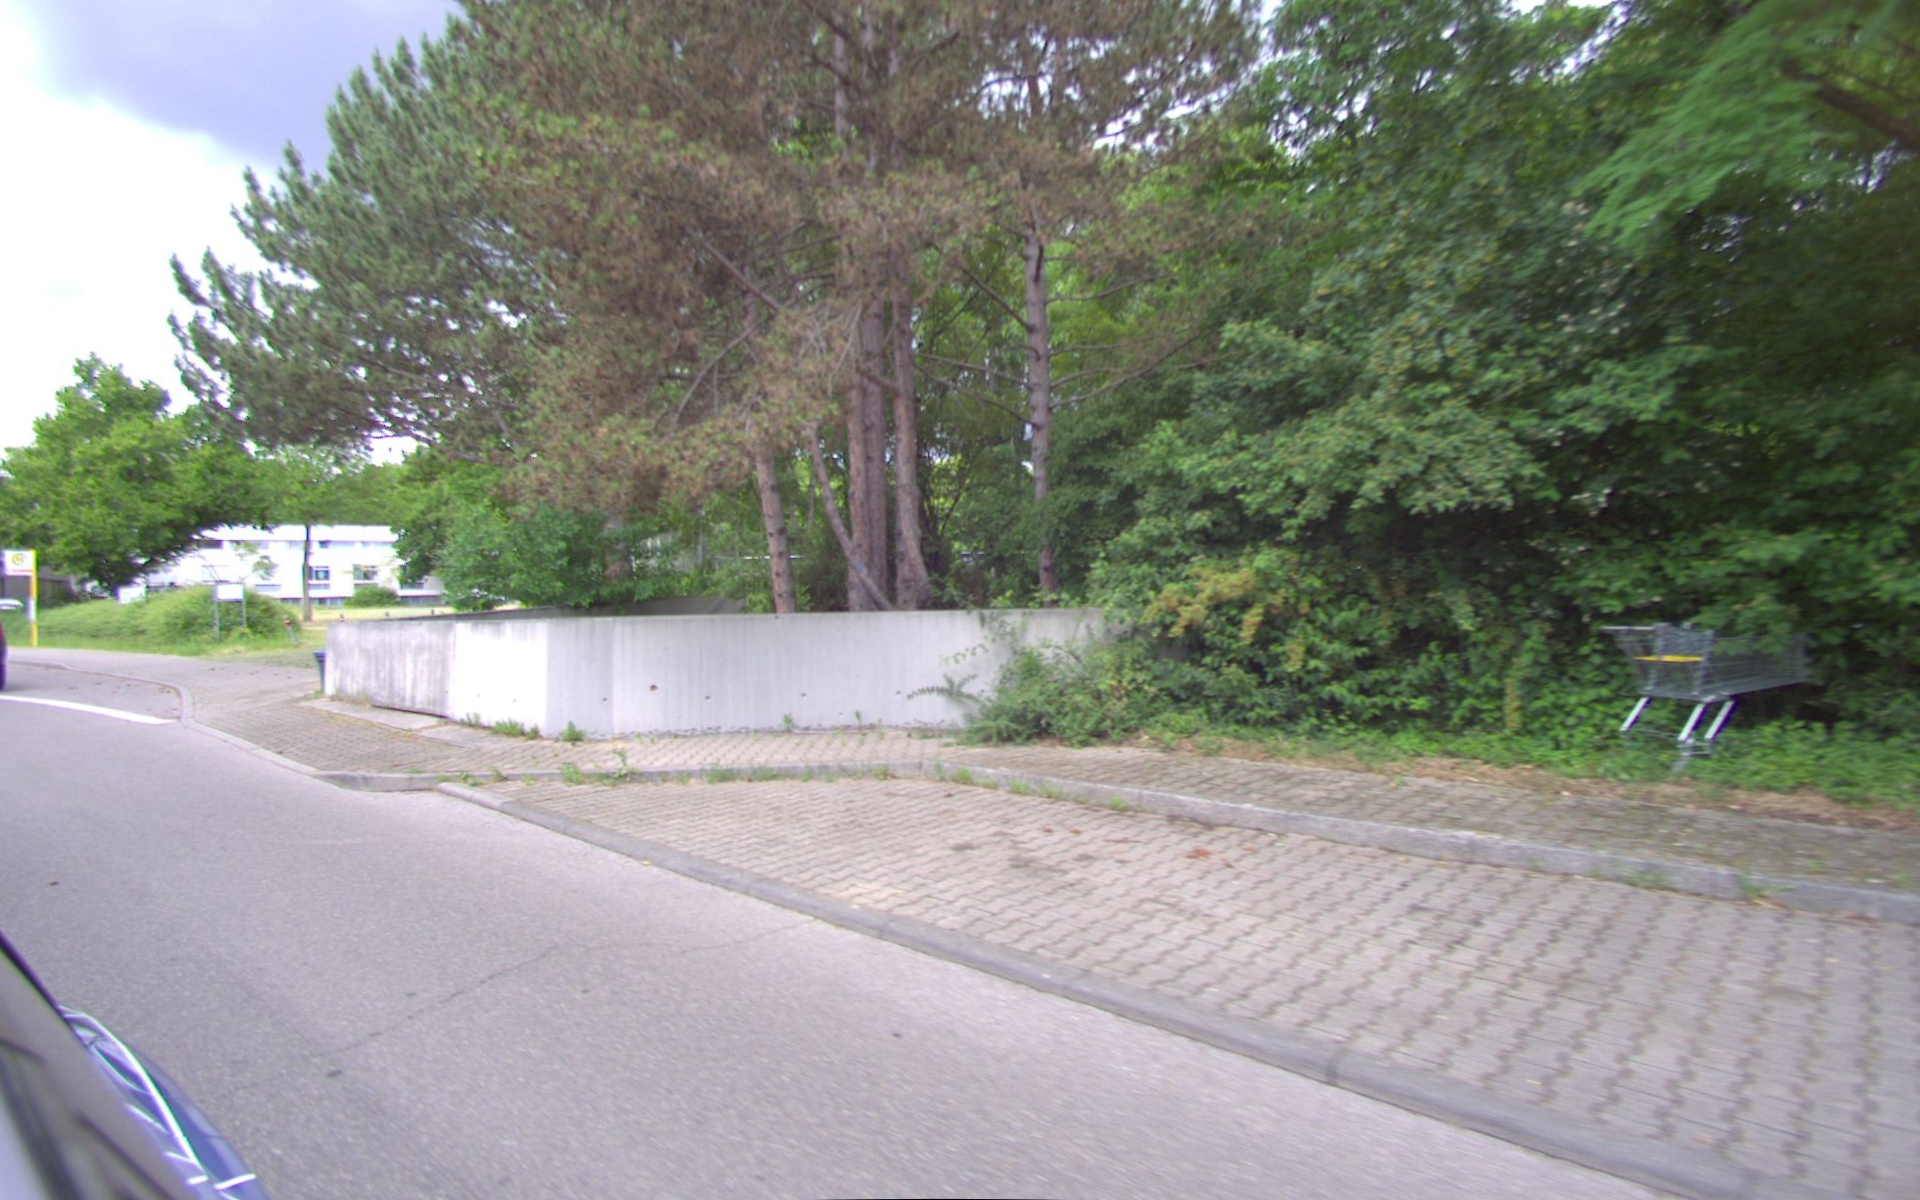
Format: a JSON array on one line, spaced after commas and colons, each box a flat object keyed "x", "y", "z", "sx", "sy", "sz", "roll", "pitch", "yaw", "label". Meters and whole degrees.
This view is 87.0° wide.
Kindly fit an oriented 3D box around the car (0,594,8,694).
[{"x": -19.528, "y": 0.820, "z": 18.916, "sx": 5.333, "sy": 1.749, "sz": 1.973, "roll": -1, "pitch": 0, "yaw": 41, "label": "car"}]

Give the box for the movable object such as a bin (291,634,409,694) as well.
[{"x": -9.164, "y": 0.953, "z": 15.243, "sx": 1.036, "sy": 0.766, "sz": 1.146, "roll": -1, "pitch": 2, "yaw": 4, "label": "movable object such as a bin"}]
